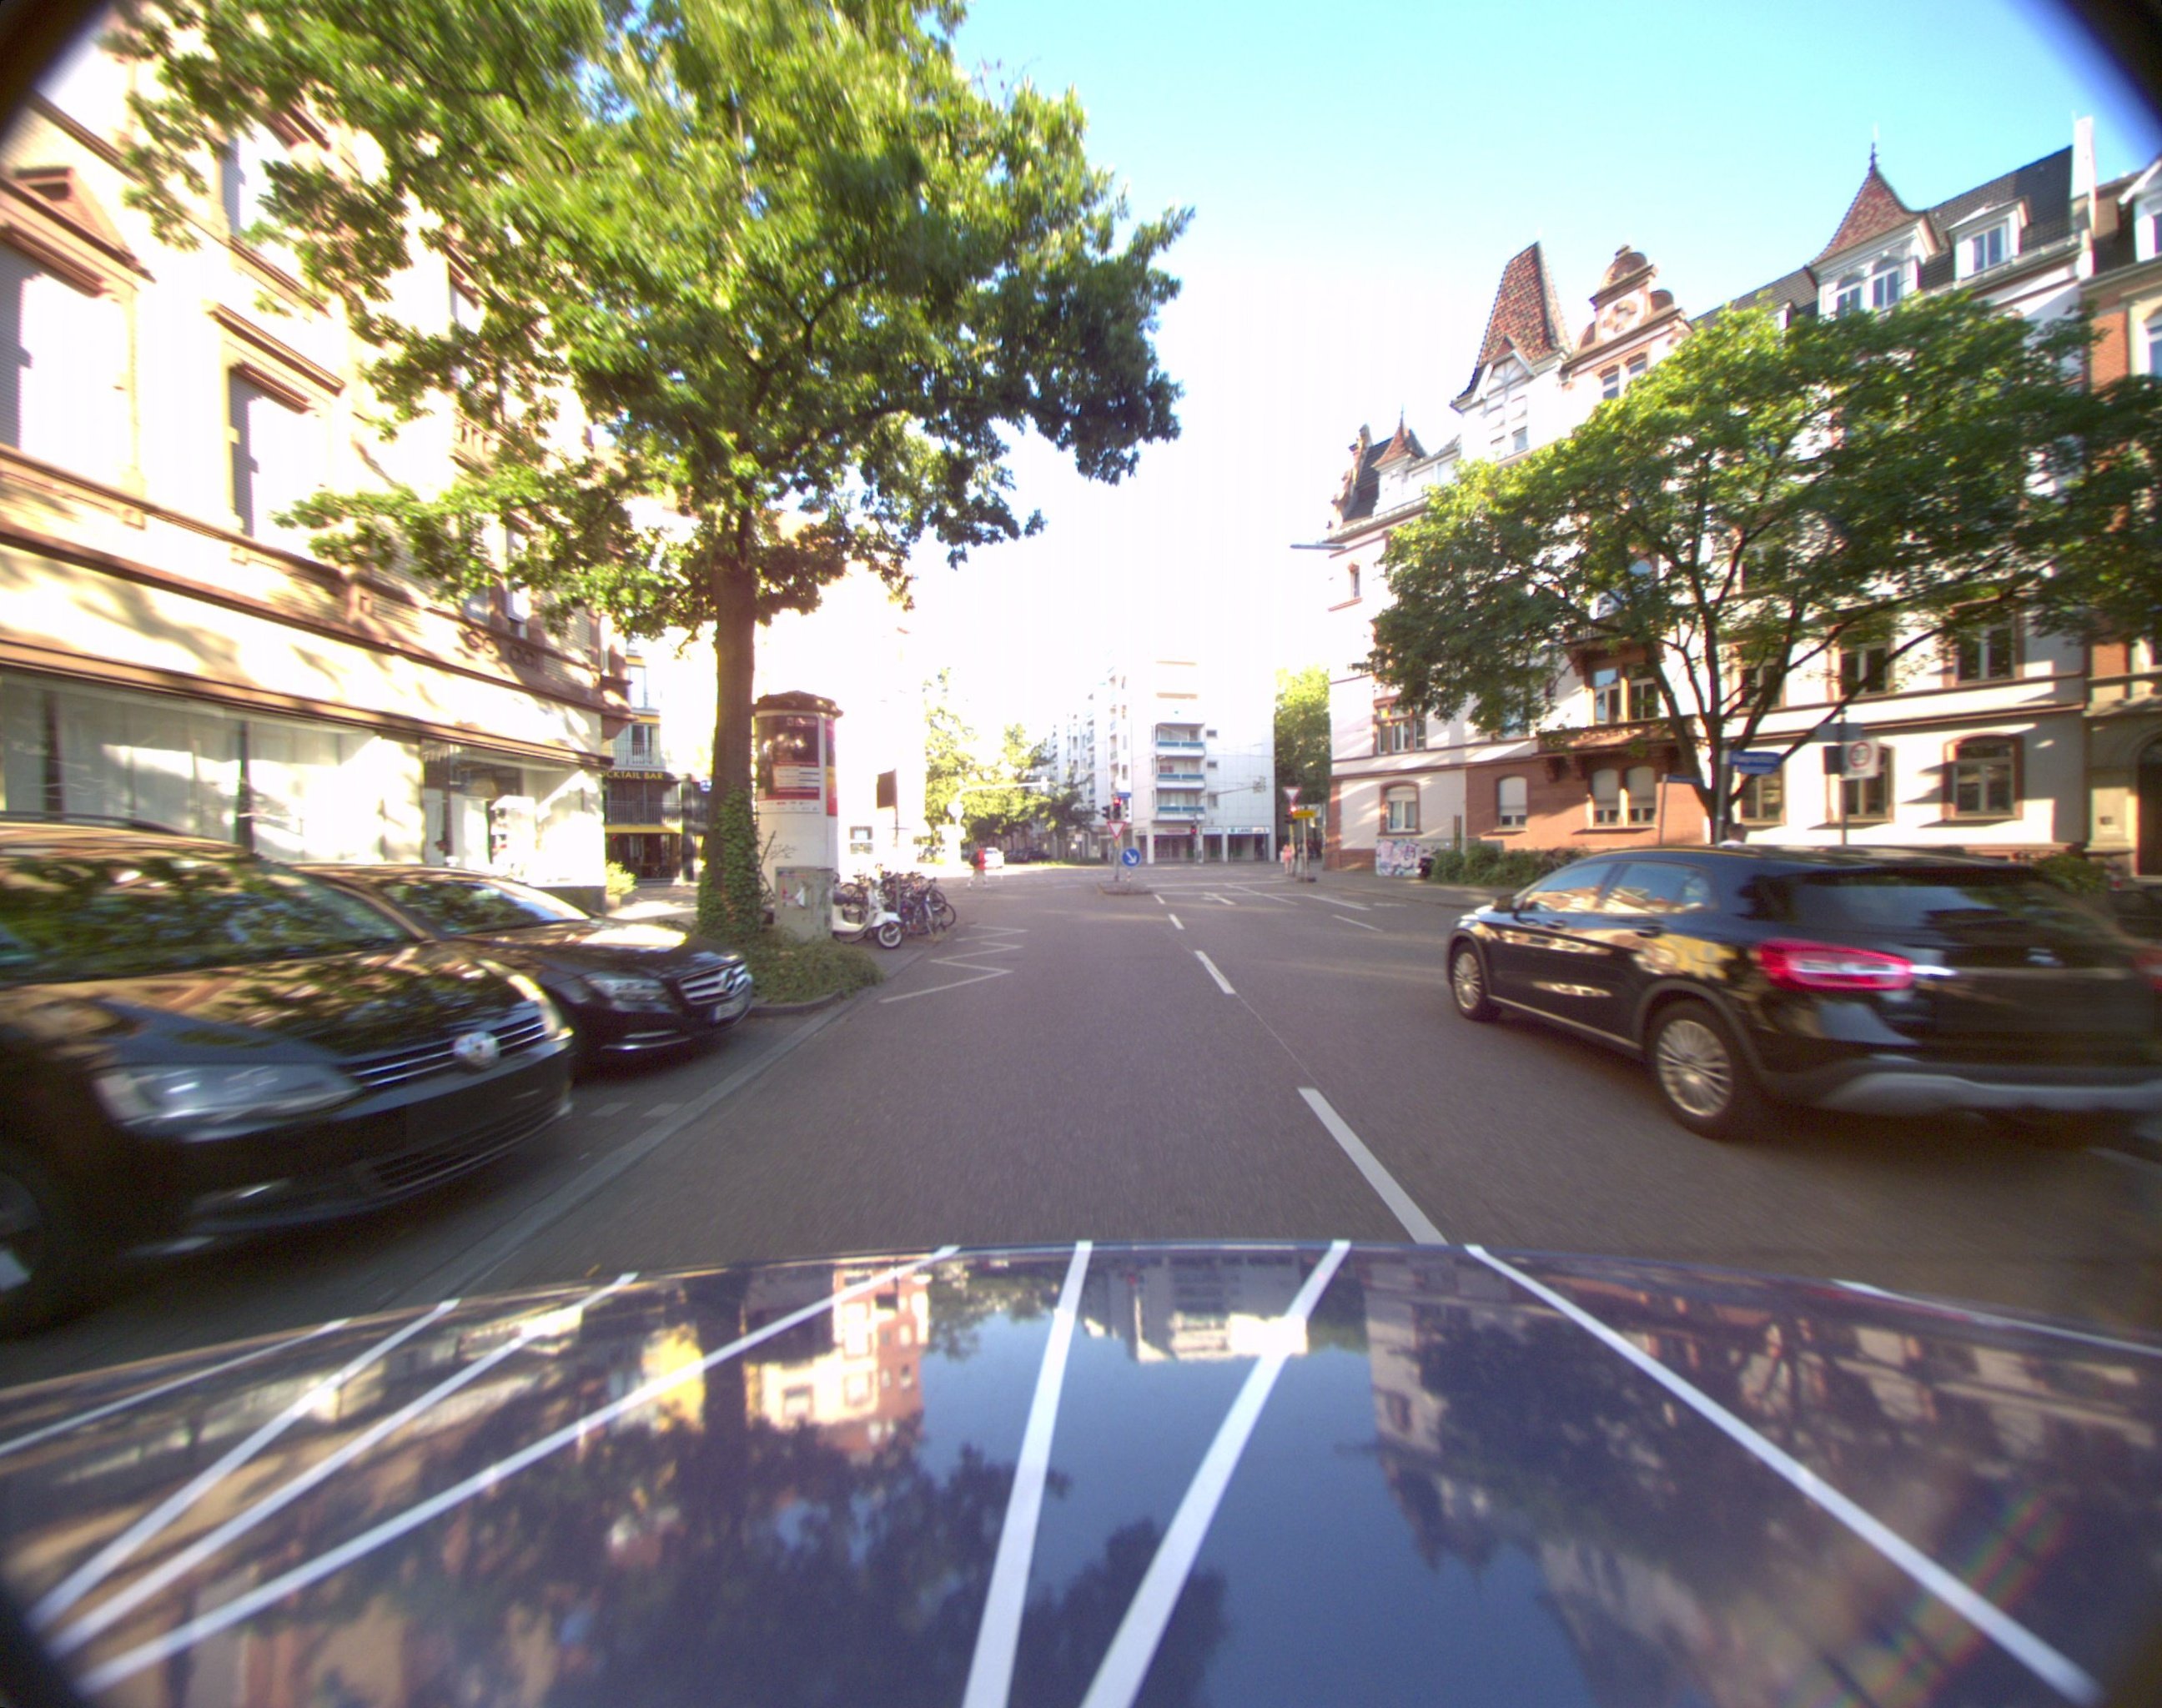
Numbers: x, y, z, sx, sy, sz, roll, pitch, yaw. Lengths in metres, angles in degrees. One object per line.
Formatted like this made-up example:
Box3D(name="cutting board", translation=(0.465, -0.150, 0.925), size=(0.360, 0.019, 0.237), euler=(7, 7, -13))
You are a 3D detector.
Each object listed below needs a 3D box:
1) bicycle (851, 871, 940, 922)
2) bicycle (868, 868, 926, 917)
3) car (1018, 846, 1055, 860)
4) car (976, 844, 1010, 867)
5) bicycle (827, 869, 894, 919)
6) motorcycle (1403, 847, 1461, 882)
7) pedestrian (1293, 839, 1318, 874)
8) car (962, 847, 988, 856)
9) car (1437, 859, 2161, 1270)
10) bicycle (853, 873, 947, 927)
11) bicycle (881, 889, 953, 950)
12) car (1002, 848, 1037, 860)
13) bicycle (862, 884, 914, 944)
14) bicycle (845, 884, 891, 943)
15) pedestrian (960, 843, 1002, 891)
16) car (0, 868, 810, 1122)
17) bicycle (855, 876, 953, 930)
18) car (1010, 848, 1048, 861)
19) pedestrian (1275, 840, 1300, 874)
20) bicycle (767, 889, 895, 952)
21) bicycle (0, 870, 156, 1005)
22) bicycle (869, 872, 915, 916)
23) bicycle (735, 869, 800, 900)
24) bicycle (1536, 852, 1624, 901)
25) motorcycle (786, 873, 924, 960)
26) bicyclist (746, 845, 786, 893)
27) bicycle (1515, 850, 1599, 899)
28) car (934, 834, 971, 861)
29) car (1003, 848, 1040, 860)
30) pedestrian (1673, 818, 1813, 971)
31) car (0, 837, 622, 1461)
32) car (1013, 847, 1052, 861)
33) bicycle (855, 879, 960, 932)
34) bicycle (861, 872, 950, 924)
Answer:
Box3D(name="bicycle", translation=(-4.219, 0.953, 17.389), size=(1.940, 1.087, 0.424), euler=(1, 2, -40))
Box3D(name="bicycle", translation=(-4.400, 0.902, 18.235), size=(0.424, 1.087, 1.480), euler=(3, 2, 29))
Box3D(name="car", translation=(-5.261, -0.110, 89.941), size=(4.004, 1.576, 1.996), euler=(-1, 1, -21))
Box3D(name="car", translation=(-6.885, 0.072, 59.150), size=(2.001, 1.740, 3.994), euler=(-1, 1, -15))
Box3D(name="bicycle", translation=(-5.172, 0.919, 17.871), size=(0.572, 1.087, 1.480), euler=(3, 2, 31))
Box3D(name="motorcycle", translation=(13.275, 0.390, 28.730), size=(2.113, 1.258, 0.841), euler=(-1, 1, -26))
Box3D(name="pedestrian", translation=(11.241, 0.110, 38.009), size=(0.867, 1.688, 0.986), euler=(0, 2, 40))
Box3D(name="car", translation=(-18.723, -0.446, 134.450), size=(4.308, 1.576, 1.996), euler=(-1, 1, -19))
Box3D(name="car", translation=(4.048, 0.820, 4.957), size=(1.762, 1.479, 4.139), euler=(0, 1, 4))
Box3D(name="bicycle", translation=(-3.859, 0.965, 16.309), size=(1.940, 1.087, 0.424), euler=(1, 2, -38))
Box3D(name="bicycle", translation=(-2.835, 1.113, 13.237), size=(0.353, 0.922, 1.416), euler=(3, 2, 29))
Box3D(name="car", translation=(-8.384, 0.007, 103.113), size=(4.308, 1.576, 1.996), euler=(-1, 1, -19))
Box3D(name="bicycle", translation=(-3.427, 1.046, 13.601), size=(0.354, 0.922, 1.526), euler=(2, 1, 7))
Box3D(name="bicycle", translation=(-3.824, 1.044, 13.723), size=(0.354, 0.922, 1.525), euler=(2, 1, 1))
Box3D(name="pedestrian", translation=(-3.571, 0.453, 27.050), size=(1.175, 1.670, 1.005), euler=(-1, 1, -30))
Box3D(name="car", translation=(-4.737, 0.877, 5.606), size=(4.797, 1.405, 1.851), euler=(1, 1, 2))
Box3D(name="bicycle", translation=(-3.663, 0.999, 15.846), size=(1.940, 1.046, 0.501), euler=(1, 2, -38))
Box3D(name="car", translation=(-6.504, 0.053, 94.818), size=(4.309, 1.576, 1.996), euler=(-1, 1, -21))
Box3D(name="pedestrian", translation=(10.482, 0.131, 38.563), size=(0.867, 1.688, 0.986), euler=(1, 2, 44))
Box3D(name="bicycle", translation=(-4.040, 1.065, 12.320), size=(1.935, 0.922, 0.354), euler=(2, 2, -2))
Box3D(name="bicycle", translation=(-10.083, 0.777, 6.683), size=(0.672, 1.165, 2.592), euler=(2, 1, 2))
Box3D(name="bicycle", translation=(-4.752, 0.993, 19.069), size=(1.000, 1.021, 0.737), euler=(-1, 1, -22))
Box3D(name="bicycle", translation=(-10.416, 0.997, 25.256), size=(1.882, 0.907, 0.633), euler=(-3, 1, -30))
Box3D(name="bicycle", translation=(13.126, 0.552, 20.109), size=(0.547, 1.189, 2.959), euler=(-1, 1, 3))
Box3D(name="motorcycle", translation=(-3.458, 0.946, 11.717), size=(1.902, 1.227, 0.686), euler=(2, 1, 0))
Box3D(name="bicyclist", translation=(-10.463, 0.488, 25.235), size=(1.083, 1.544, 0.633), euler=(-3, 1, -30))
Box3D(name="bicycle", translation=(12.531, 0.491, 20.136), size=(0.547, 1.189, 2.959), euler=(-1, 1, 3))
Box3D(name="car", translation=(-16.098, -0.833, 94.722), size=(3.329, 3.160, 8.069), euler=(-1, 1, -18))
Box3D(name="car", translation=(-7.598, -0.018, 96.995), size=(4.309, 1.576, 1.996), euler=(-1, 1, -21))
Box3D(name="pedestrian", translation=(8.571, 0.492, 9.874), size=(1.118, 1.888, 0.842), euler=(-1, 1, -8))
Box3D(name="car", translation=(-4.780, 0.774, 3.166), size=(4.697, 1.669, 1.851), euler=(1, 1, 5))
Box3D(name="car", translation=(-5.946, -0.034, 92.288), size=(4.309, 1.576, 1.996), euler=(-1, 1, -21))
Box3D(name="bicycle", translation=(-3.419, 1.004, 15.002), size=(1.939, 0.982, 0.495), euler=(2, 2, -23))
Box3D(name="bicycle", translation=(-3.901, 0.952, 16.988), size=(1.940, 1.087, 0.424), euler=(1, 2, -40))
